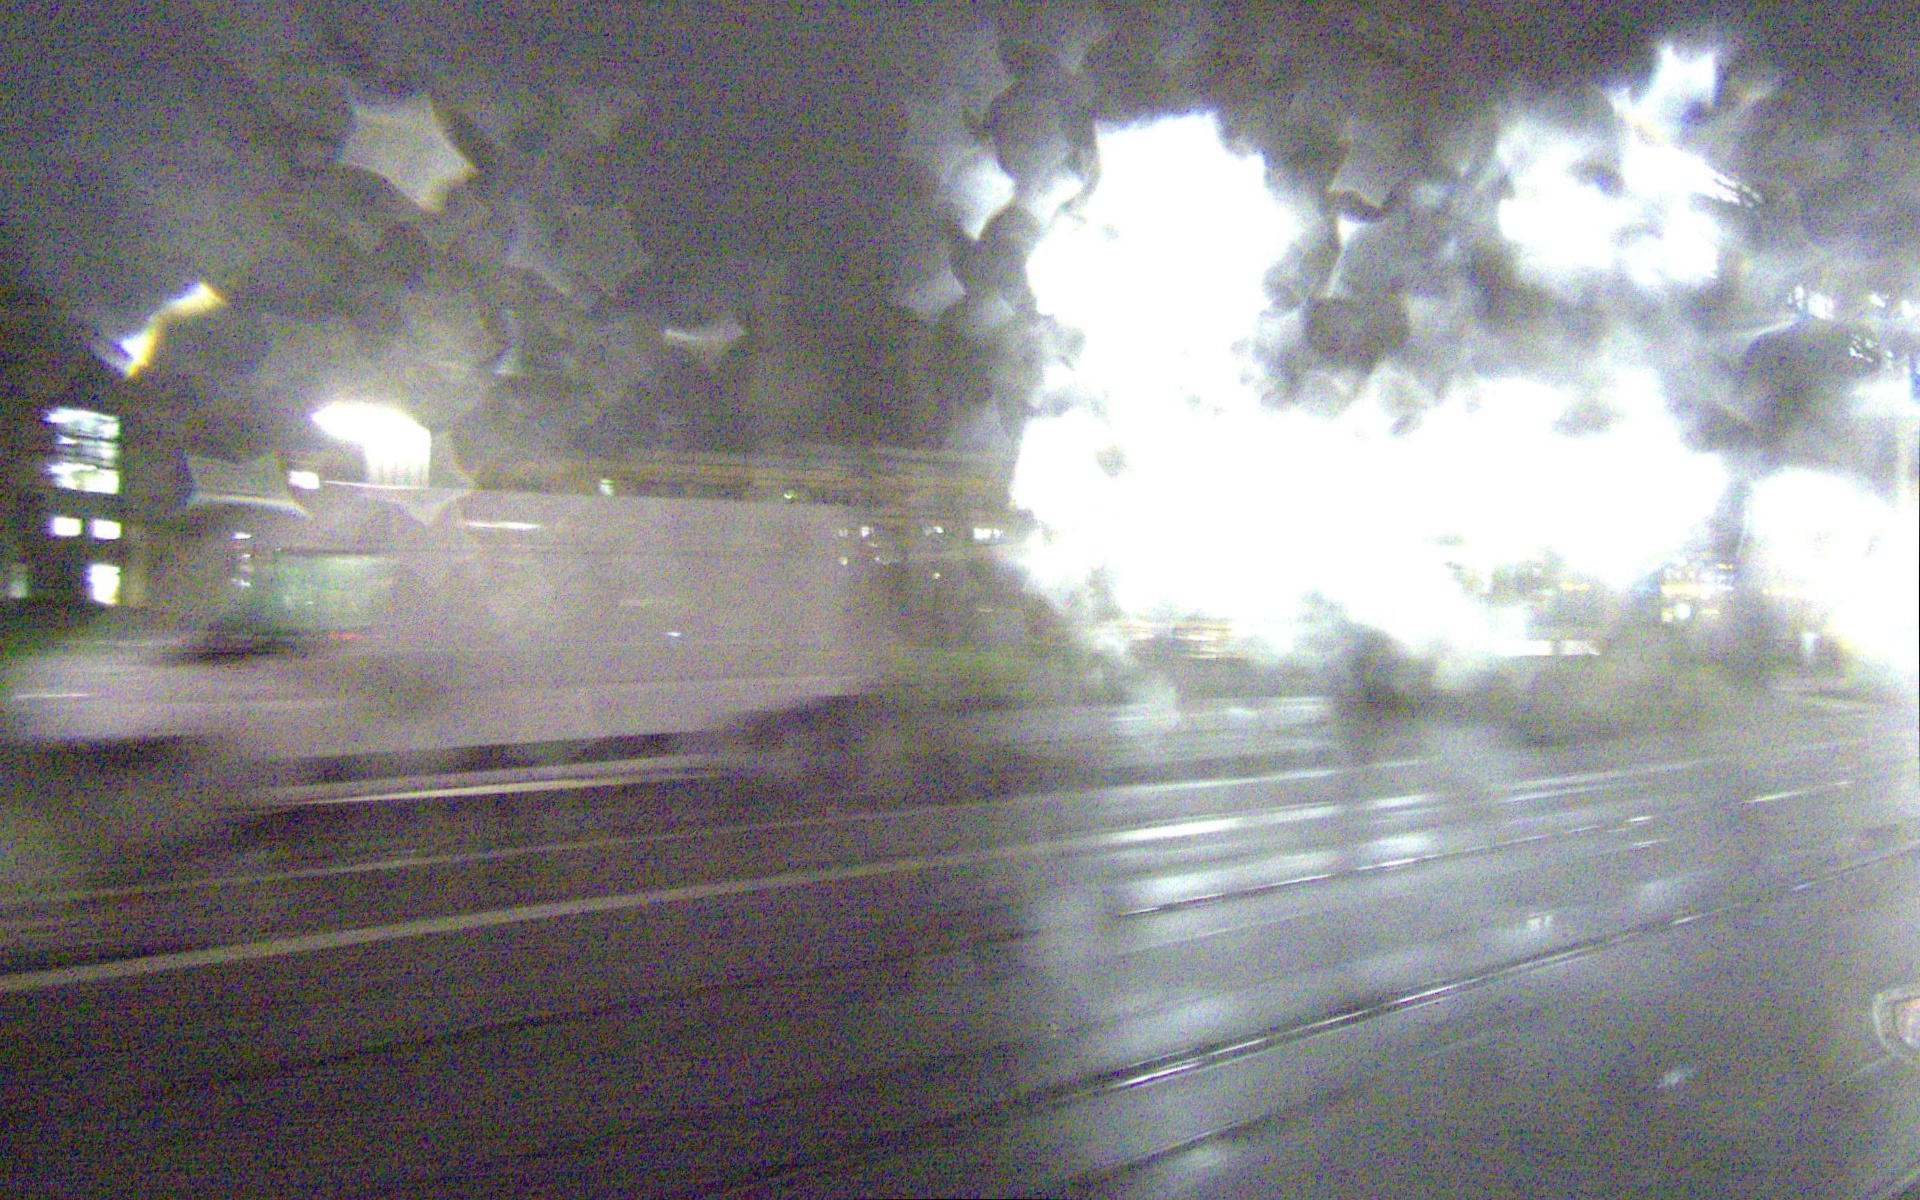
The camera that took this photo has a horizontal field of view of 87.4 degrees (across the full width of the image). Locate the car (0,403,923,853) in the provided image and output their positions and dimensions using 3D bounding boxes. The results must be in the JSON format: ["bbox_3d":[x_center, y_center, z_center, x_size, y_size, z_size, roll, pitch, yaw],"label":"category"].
[{"bbox_3d":[-3.614,0.208,8.189,6.311,2.626,2.176,1,0,-28],"label":"car"}]
